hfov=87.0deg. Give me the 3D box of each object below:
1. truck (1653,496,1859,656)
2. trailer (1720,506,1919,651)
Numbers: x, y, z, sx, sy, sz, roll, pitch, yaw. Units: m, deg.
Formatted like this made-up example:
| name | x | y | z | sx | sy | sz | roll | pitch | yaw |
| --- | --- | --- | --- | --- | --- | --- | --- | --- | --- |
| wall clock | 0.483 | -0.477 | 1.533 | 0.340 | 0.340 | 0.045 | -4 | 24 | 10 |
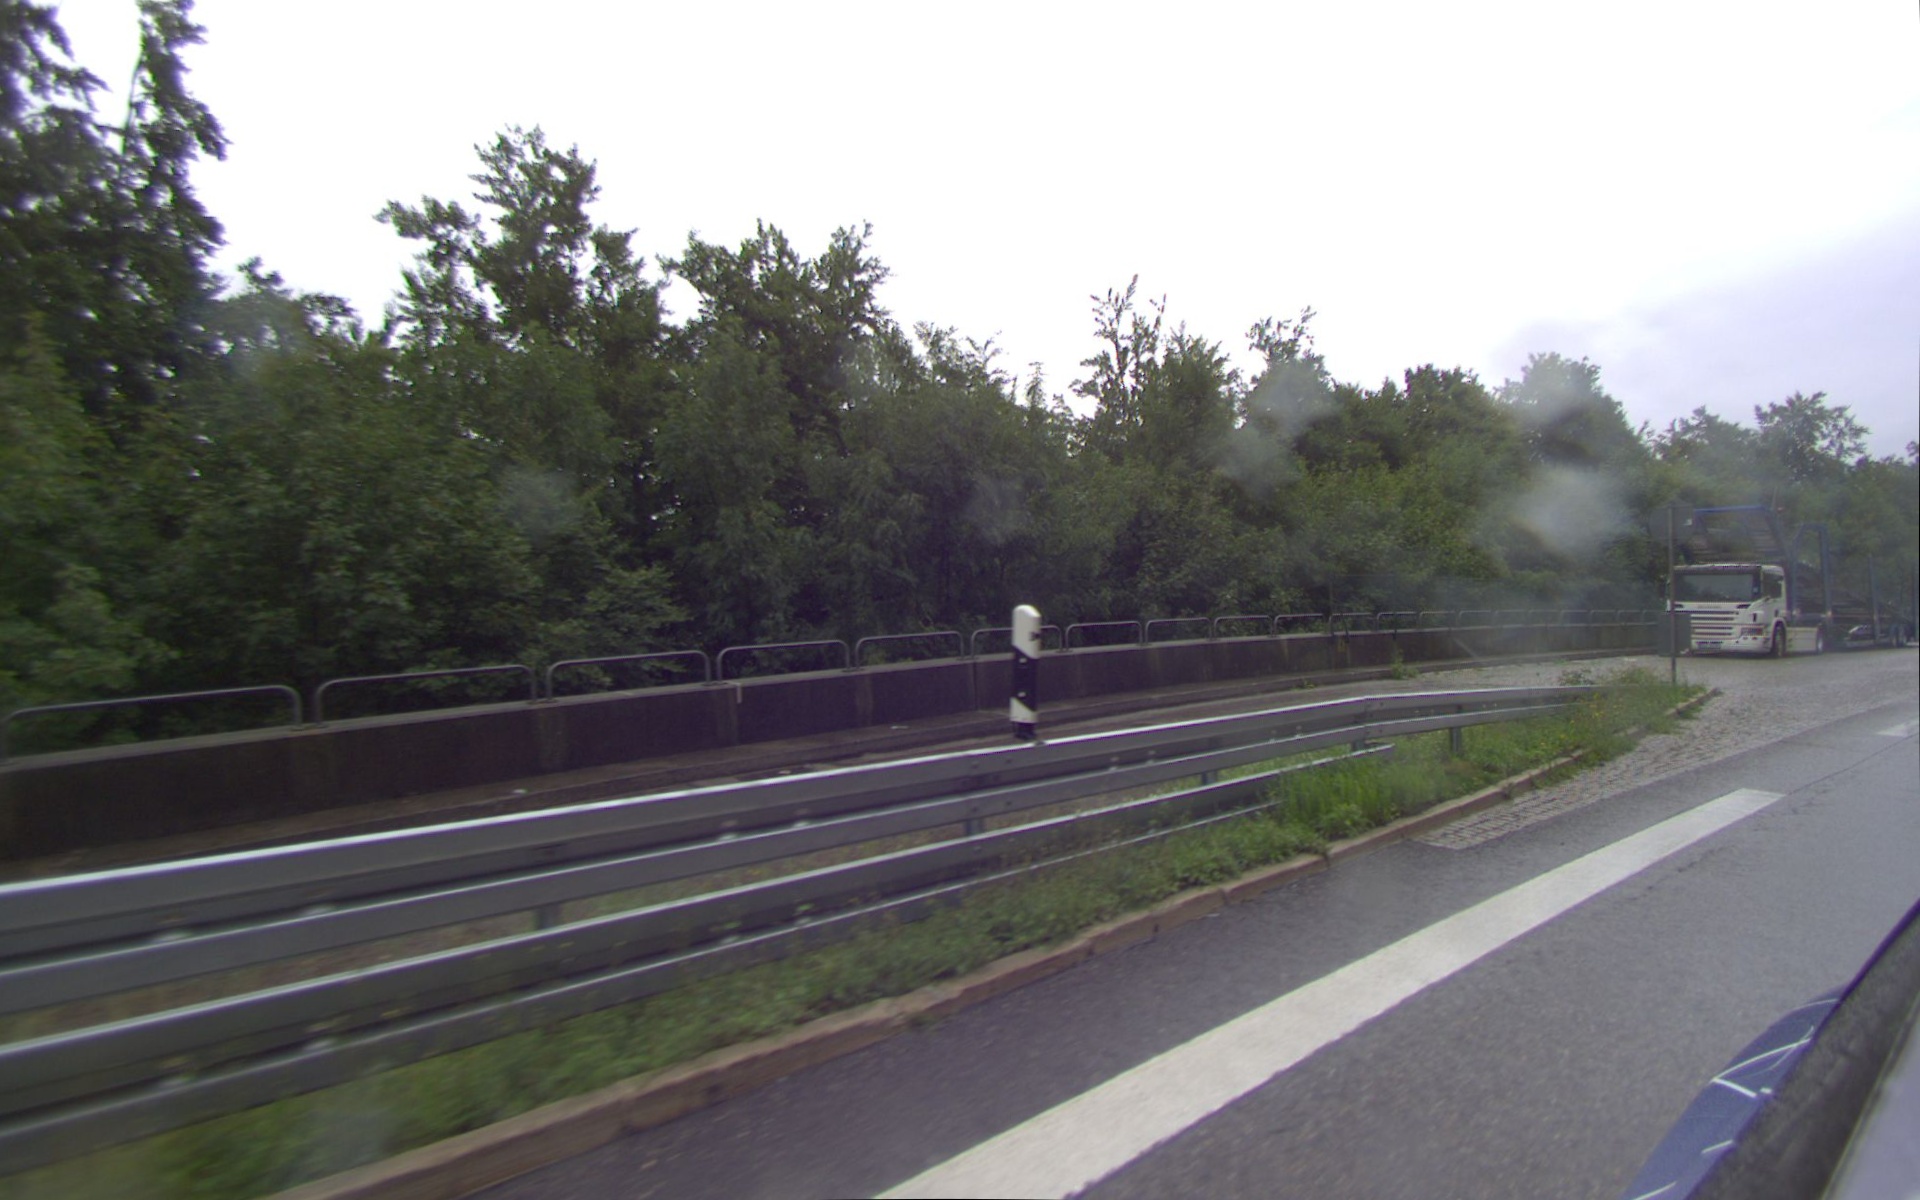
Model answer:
| name | x | y | z | sx | sy | sz | roll | pitch | yaw |
| --- | --- | --- | --- | --- | --- | --- | --- | --- | --- |
| truck | 23.862 | -0.700 | 30.240 | 6.749 | 4.298 | 2.906 | 0 | 1 | -34 |
| trailer | 31.062 | -0.719 | 35.133 | 14.415 | 4.298 | 2.903 | 0 | 1 | -34 |
